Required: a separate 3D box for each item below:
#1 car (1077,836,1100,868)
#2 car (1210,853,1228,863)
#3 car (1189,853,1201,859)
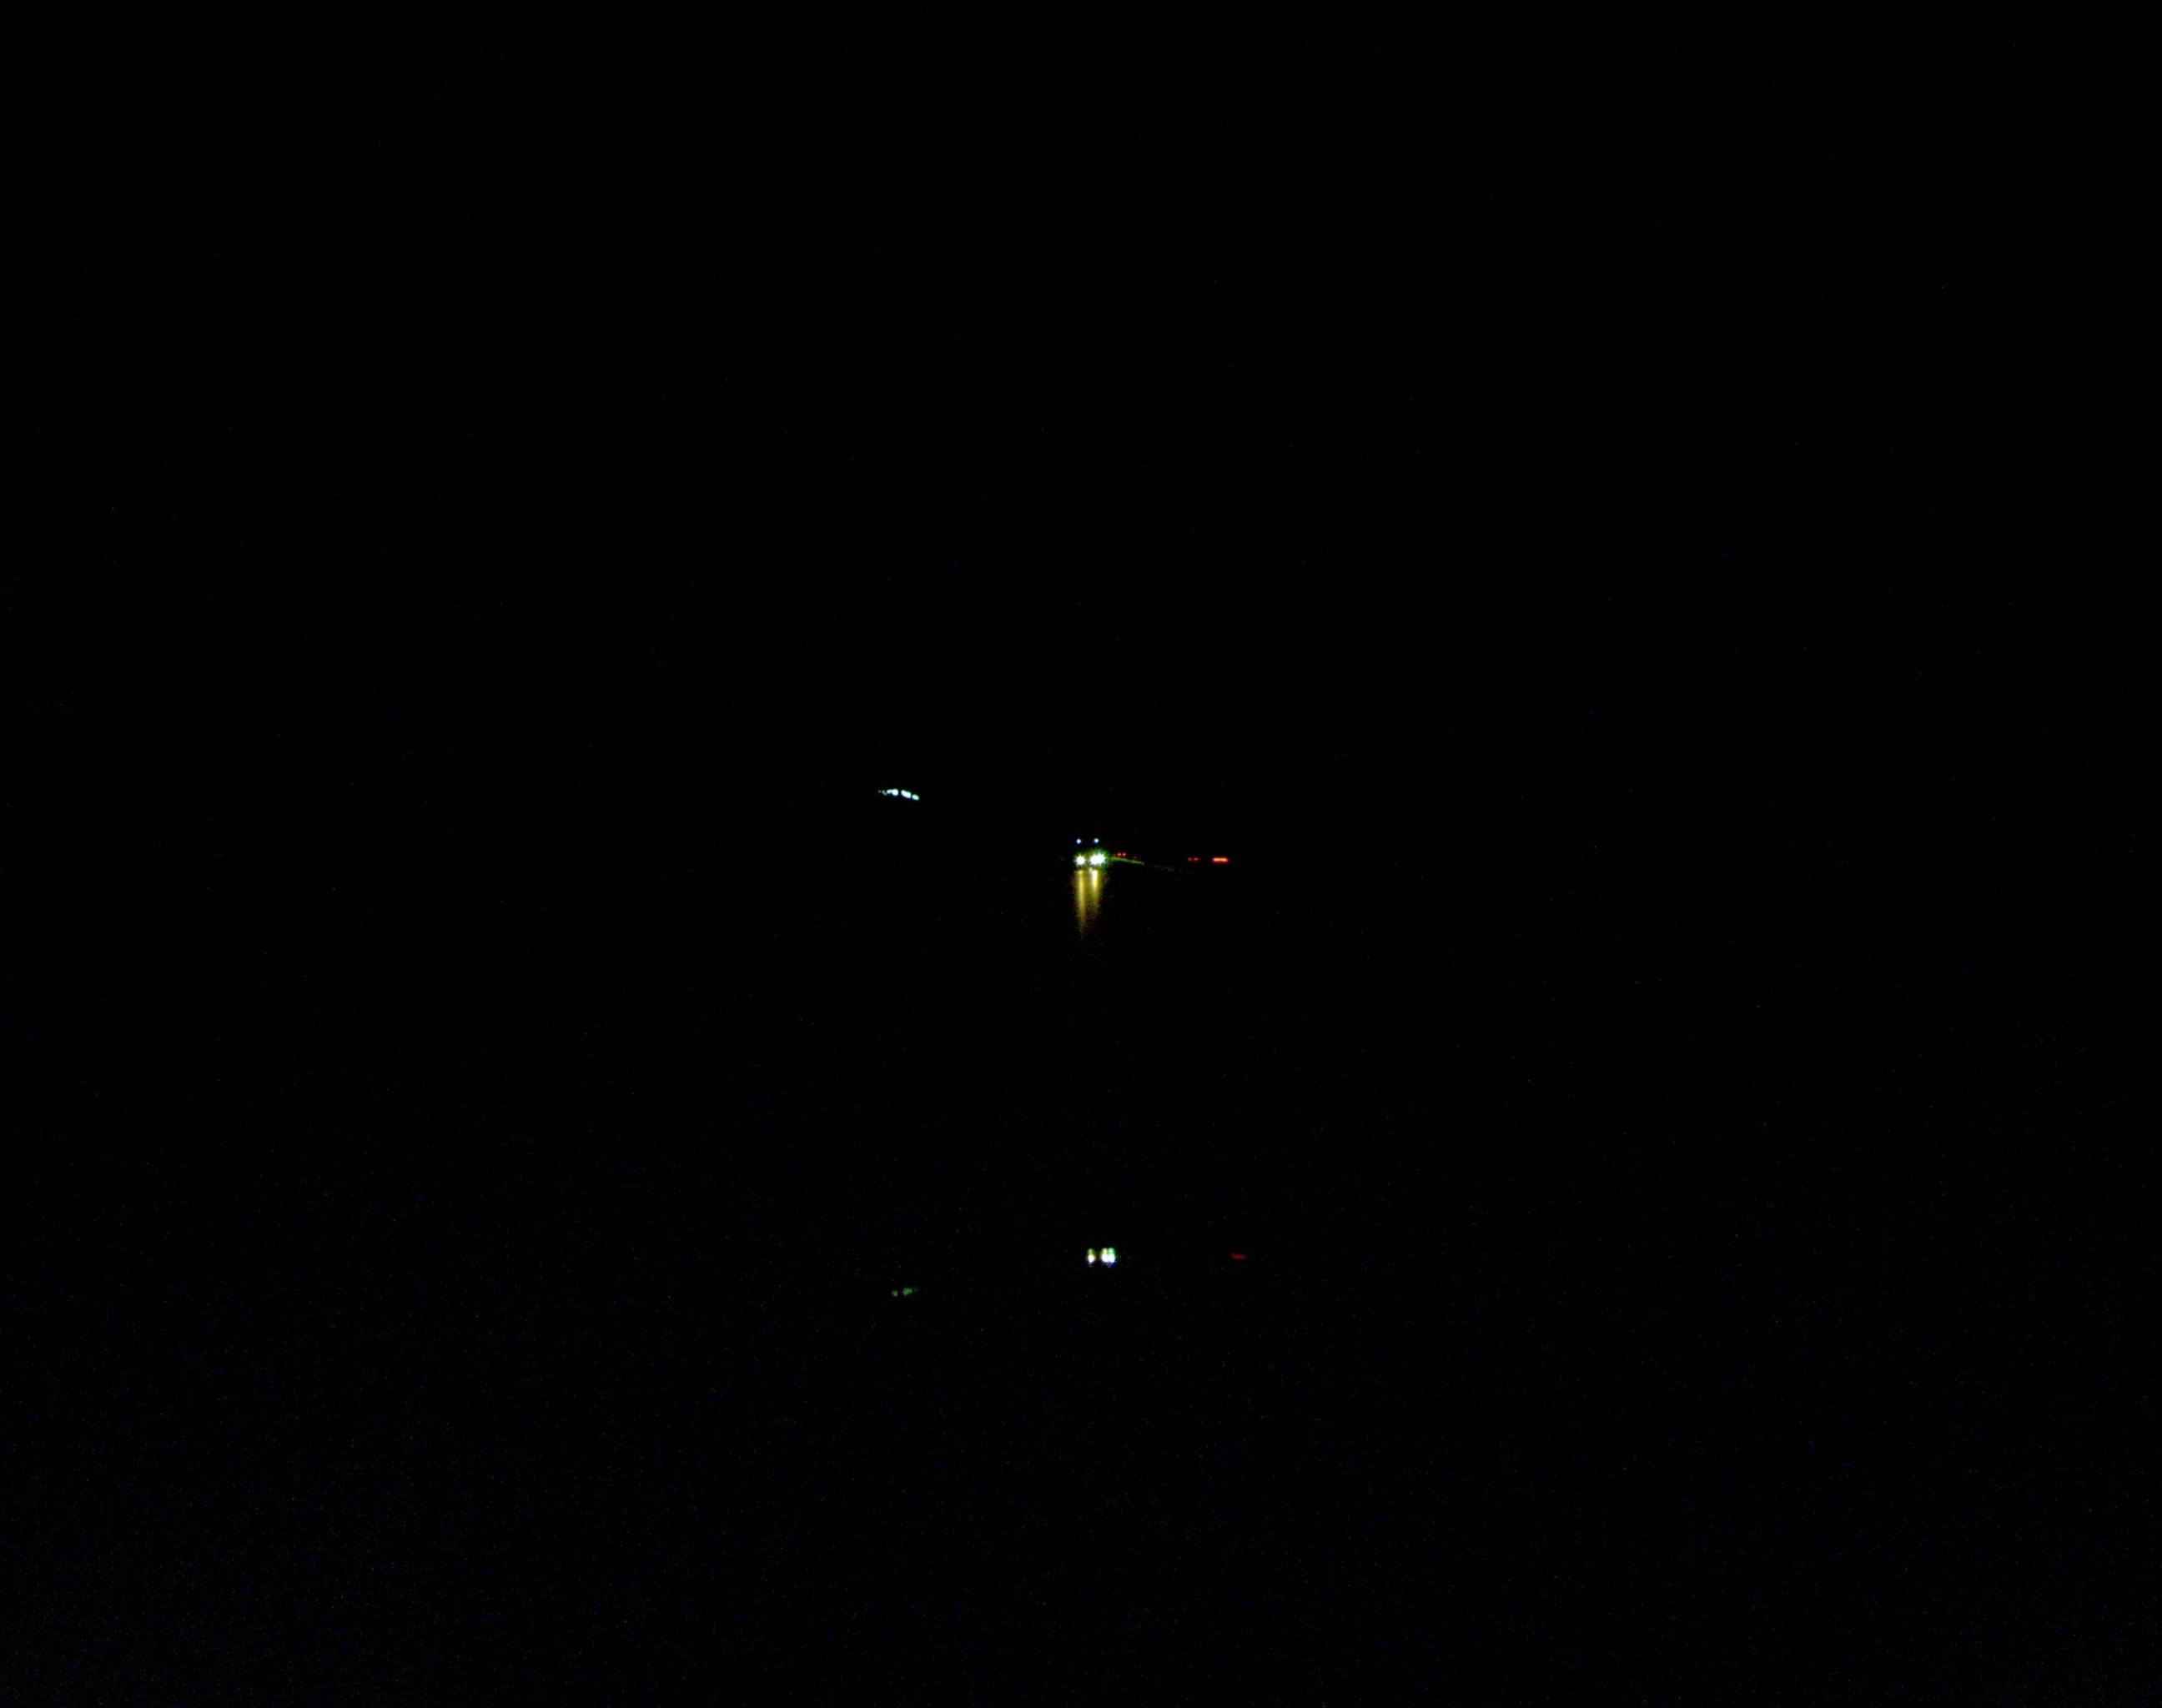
[{"bbox_3d":[0.886,-0.248,82.671,2.255,3.205,6.878,-2,1,2],"label":"car"},{"bbox_3d":[20.907,0.548,115.285,1.968,1.529,5.185,0,0,2],"label":"car"},{"bbox_3d":[22.606,0.424,151.174,1.908,1.275,4.350,0,0,2],"label":"car"}]
